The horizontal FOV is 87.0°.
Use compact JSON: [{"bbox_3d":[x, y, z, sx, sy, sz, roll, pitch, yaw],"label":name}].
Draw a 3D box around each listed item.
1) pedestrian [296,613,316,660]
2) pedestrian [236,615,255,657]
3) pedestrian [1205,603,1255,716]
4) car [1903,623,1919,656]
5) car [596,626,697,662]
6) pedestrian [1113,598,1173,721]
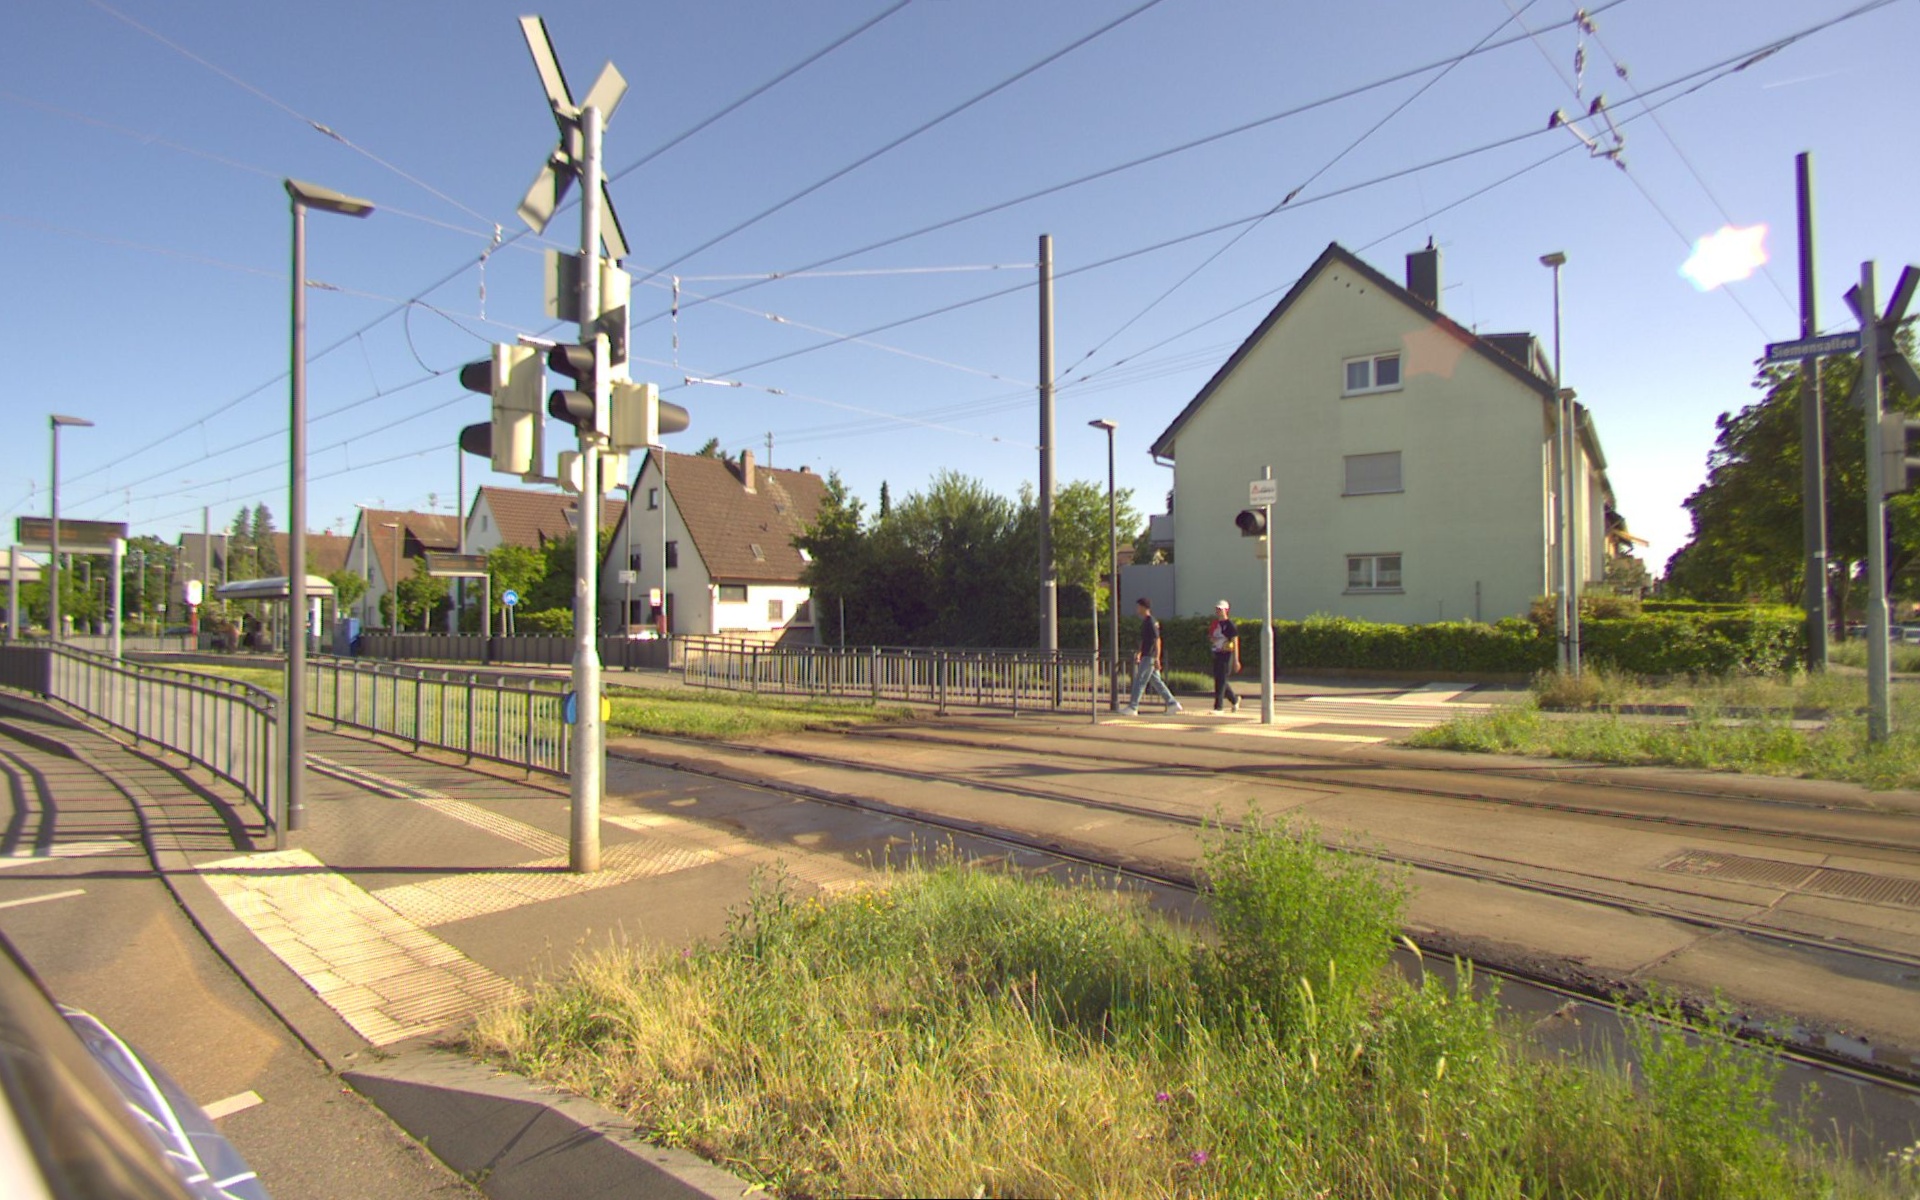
[{"bbox_3d":[-24.745,1.360,38.294,0.612,1.766,0.443,0,-2,-30],"label":"pedestrian"},{"bbox_3d":[-30.269,1.533,42.877,0.543,1.766,0.528,-2,-2,40],"label":"pedestrian"},{"bbox_3d":[4.169,0.894,15.659,0.721,1.673,0.792,0,1,16],"label":"pedestrian"},{"bbox_3d":[46.898,1.881,48.627,1.823,1.403,3.822,-1,0,36],"label":"car"},{"bbox_3d":[-14.135,1.953,45.793,1.997,1.547,3.941,-2,-2,37],"label":"car"},{"bbox_3d":[2.764,0.867,15.256,0.818,1.784,0.686,0,1,16],"label":"pedestrian"}]
